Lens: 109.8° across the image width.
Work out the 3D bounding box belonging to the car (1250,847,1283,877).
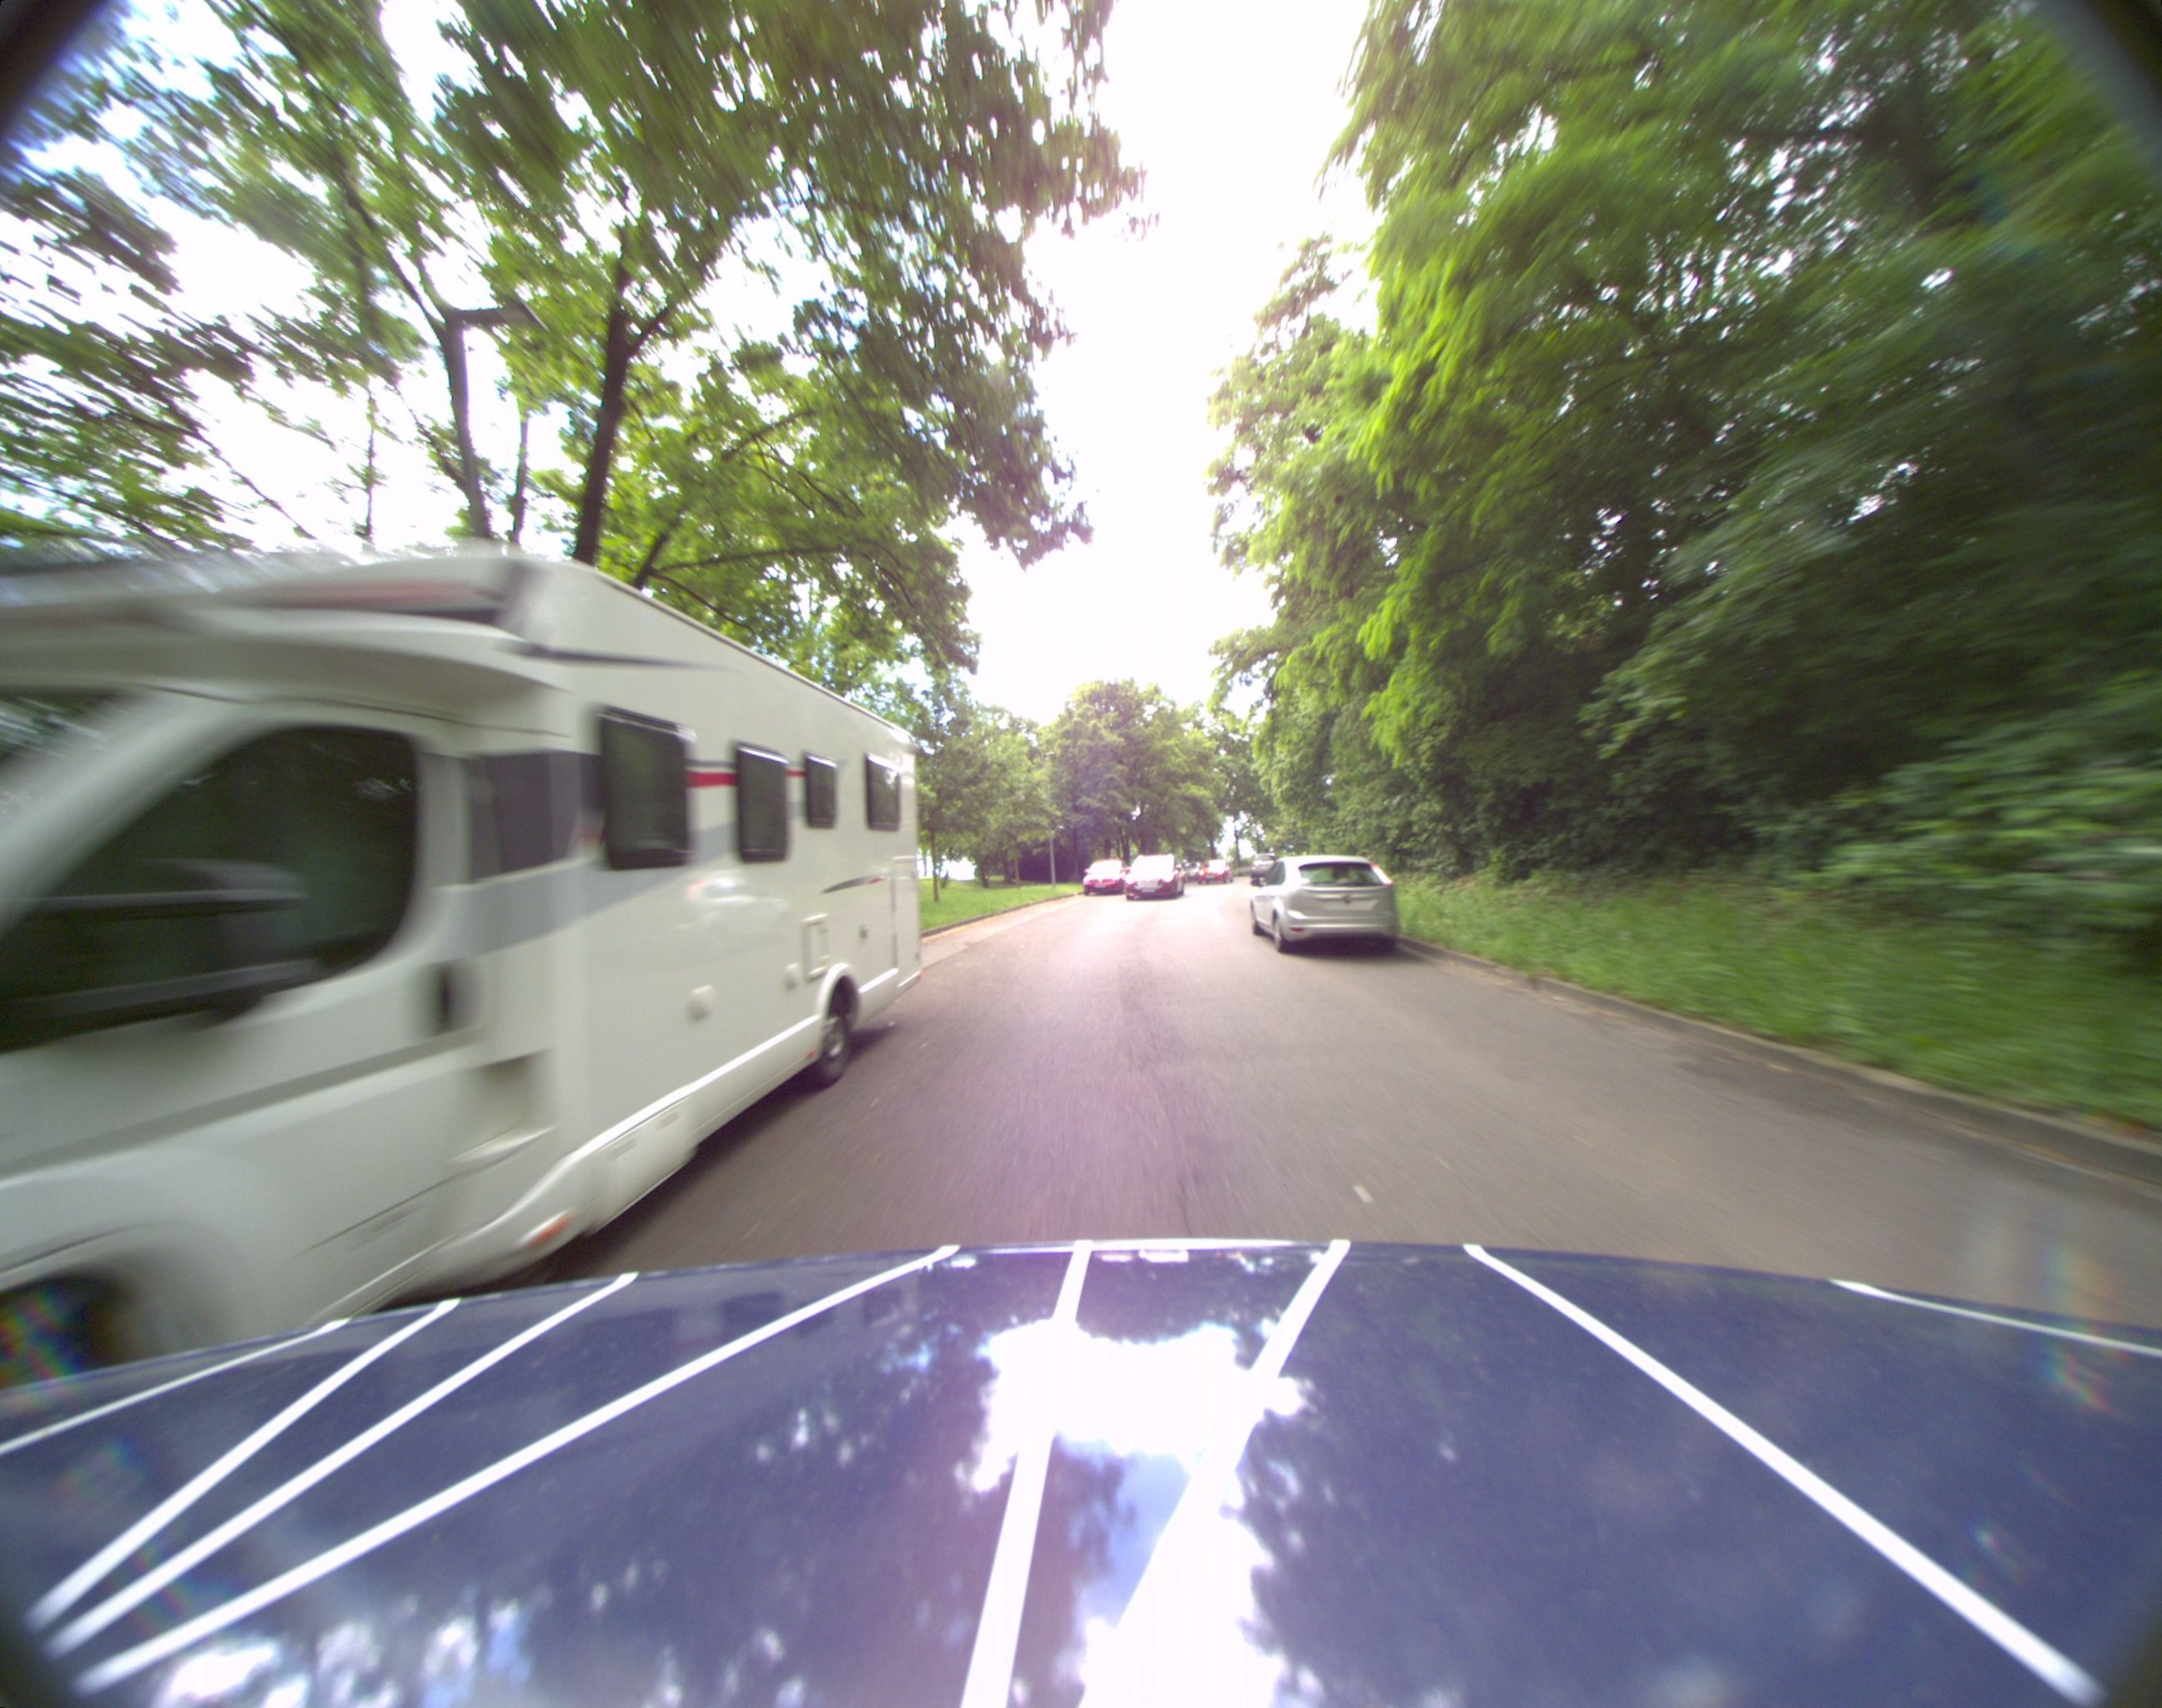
[{"bbox_3d":[11.926,0.484,48.936,1.823,1.717,4.316,-5,0,14],"label":"car"}]

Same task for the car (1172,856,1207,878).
[{"bbox_3d":[8.065,0.923,56.157,1.713,1.413,4.682,-2,0,18],"label":"car"}]

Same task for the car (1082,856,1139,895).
[{"bbox_3d":[1.407,0.933,34.726,1.713,1.543,4.681,-3,0,13],"label":"car"}]

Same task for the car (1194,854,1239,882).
[{"bbox_3d":[8.374,0.834,46.592,1.955,1.464,4.683,-2,0,19],"label":"car"}]

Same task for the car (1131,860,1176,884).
[{"bbox_3d":[4.410,1.047,45.629,1.713,1.248,4.682,-3,0,18],"label":"car"}]

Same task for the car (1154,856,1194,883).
[{"bbox_3d":[6.221,0.989,50.332,1.713,1.502,4.682,-2,0,18],"label":"car"}]

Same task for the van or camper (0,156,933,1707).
[{"bbox_3d":[-2.946,0.272,3.837,2.430,2.962,7.394,-3,0,3],"label":"van or camper"}]

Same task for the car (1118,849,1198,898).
[{"bbox_3d":[3.074,0.688,29.325,2.001,1.599,4.683,-2,0,19],"label":"car"}]

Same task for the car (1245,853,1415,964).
[{"bbox_3d":[3.876,0.758,12.517,1.798,1.499,4.001,-1,0,5],"label":"car"}]
